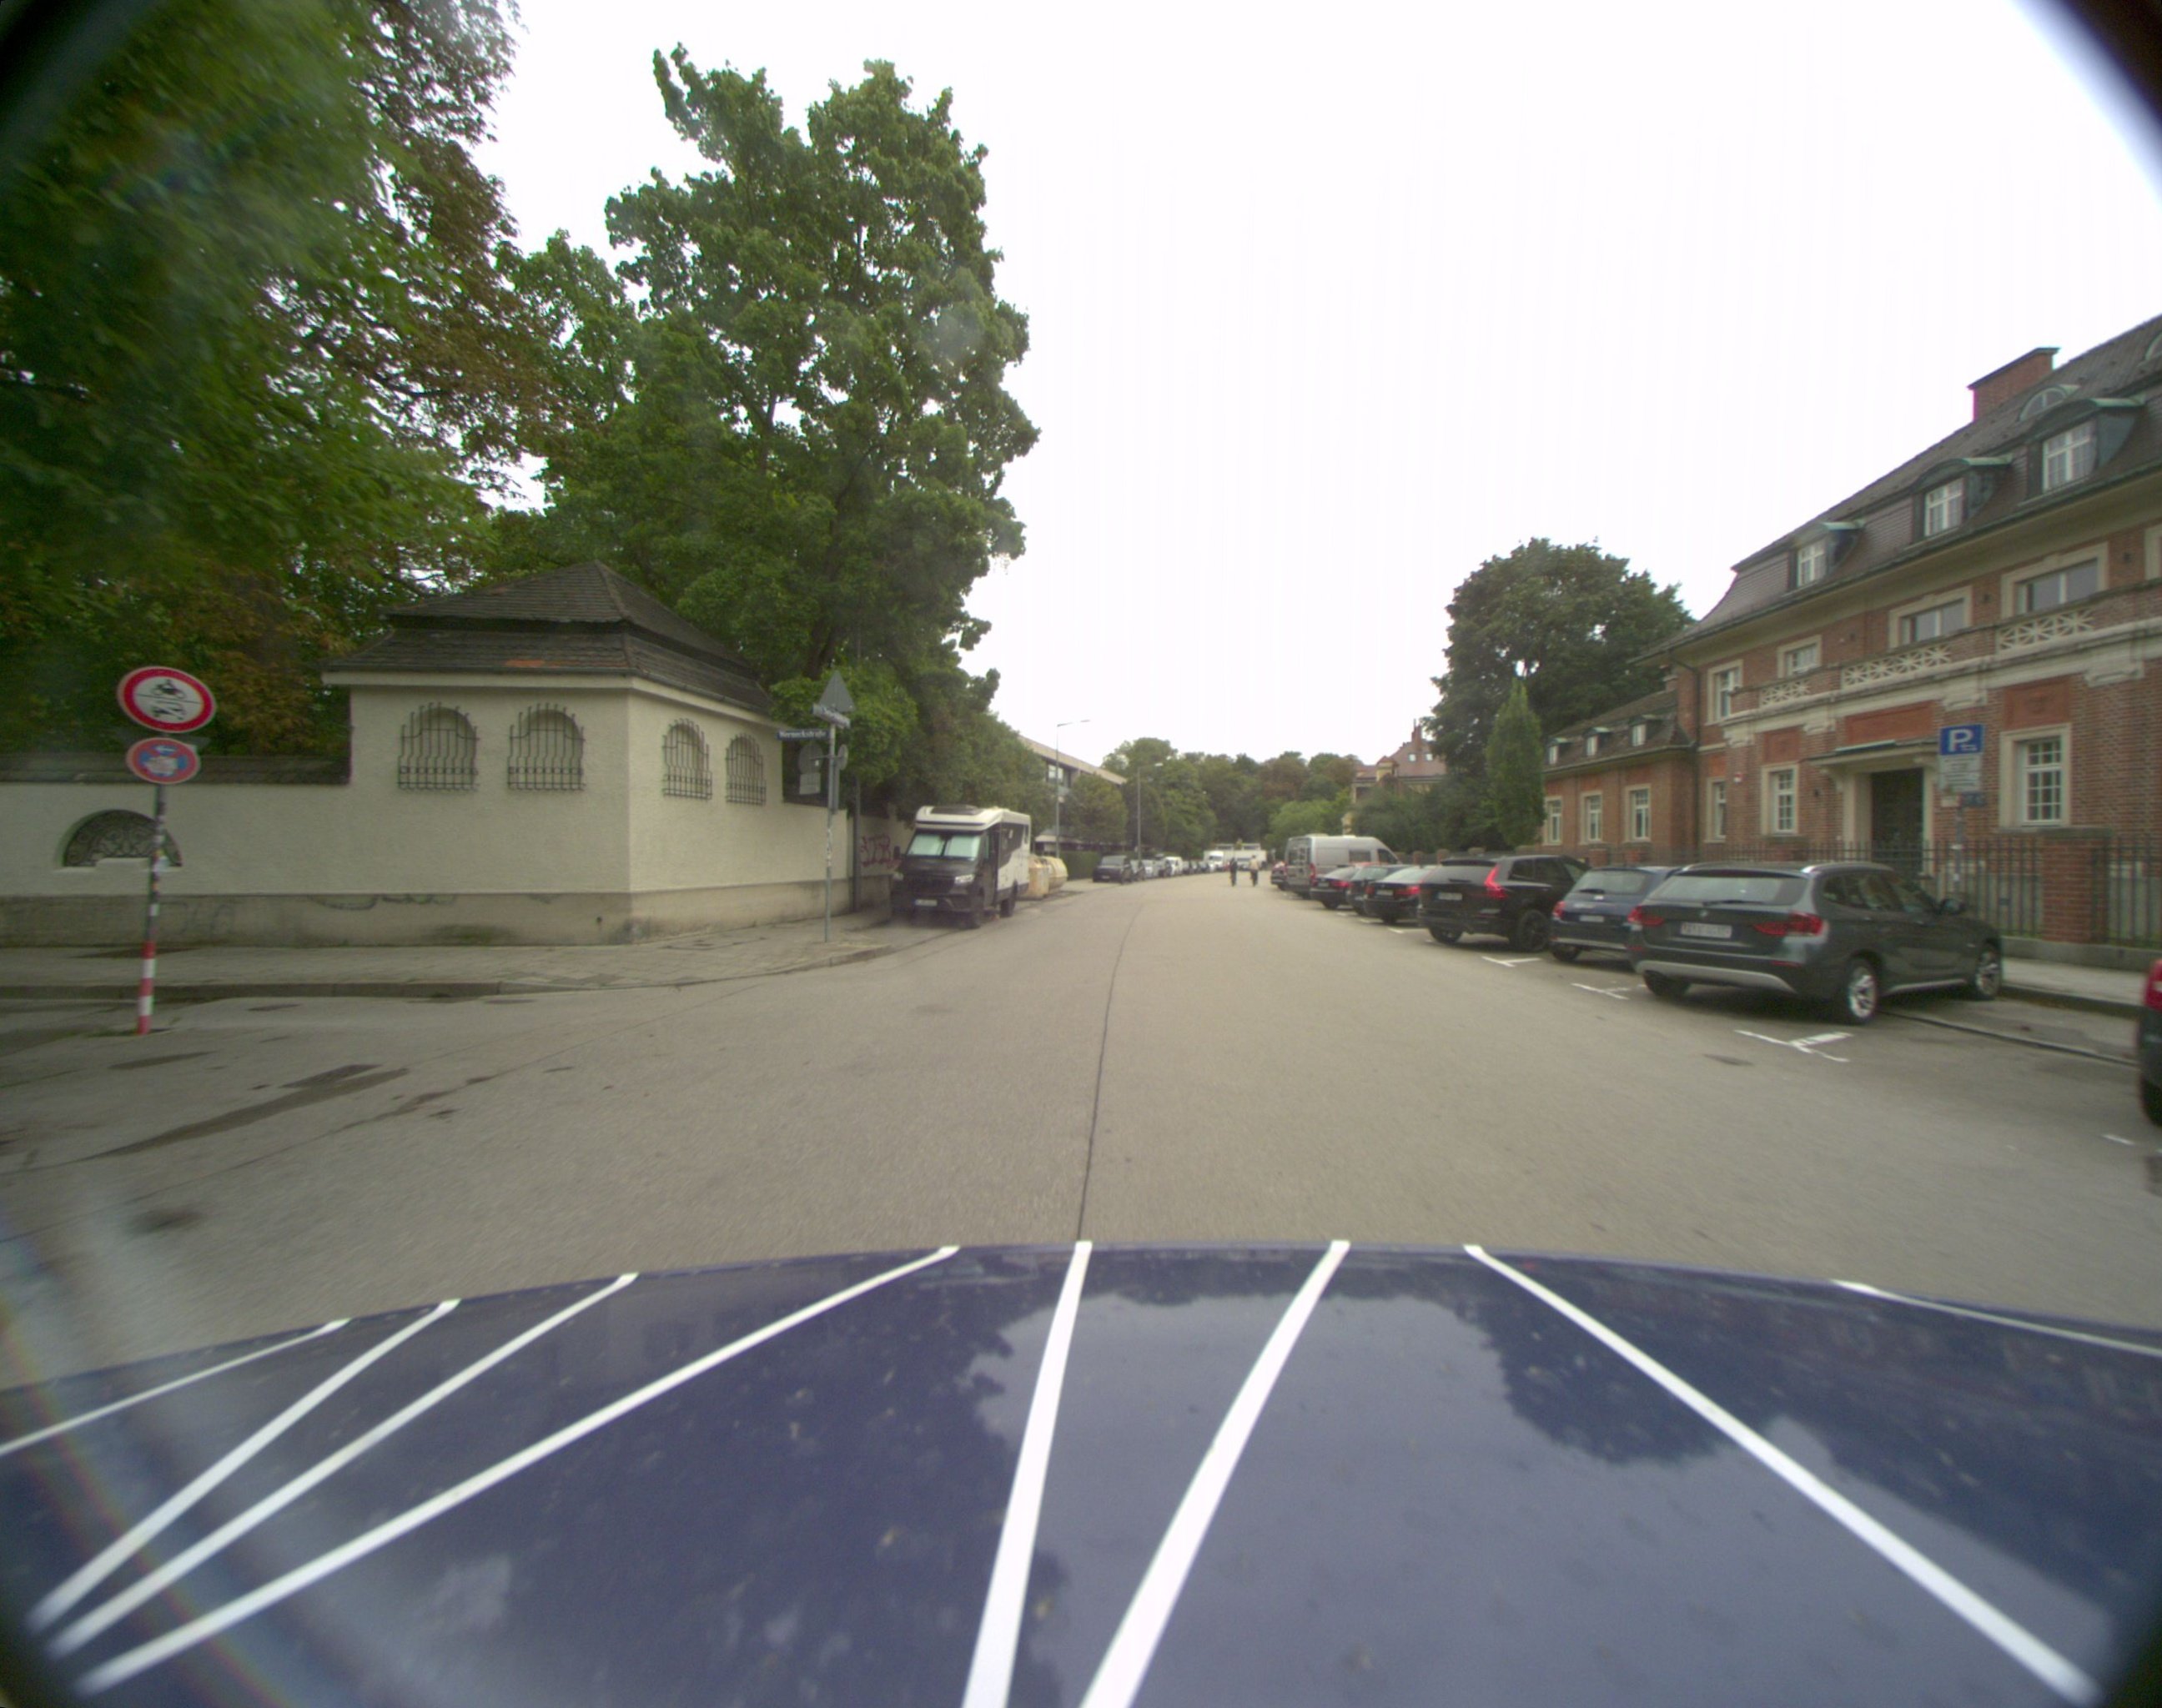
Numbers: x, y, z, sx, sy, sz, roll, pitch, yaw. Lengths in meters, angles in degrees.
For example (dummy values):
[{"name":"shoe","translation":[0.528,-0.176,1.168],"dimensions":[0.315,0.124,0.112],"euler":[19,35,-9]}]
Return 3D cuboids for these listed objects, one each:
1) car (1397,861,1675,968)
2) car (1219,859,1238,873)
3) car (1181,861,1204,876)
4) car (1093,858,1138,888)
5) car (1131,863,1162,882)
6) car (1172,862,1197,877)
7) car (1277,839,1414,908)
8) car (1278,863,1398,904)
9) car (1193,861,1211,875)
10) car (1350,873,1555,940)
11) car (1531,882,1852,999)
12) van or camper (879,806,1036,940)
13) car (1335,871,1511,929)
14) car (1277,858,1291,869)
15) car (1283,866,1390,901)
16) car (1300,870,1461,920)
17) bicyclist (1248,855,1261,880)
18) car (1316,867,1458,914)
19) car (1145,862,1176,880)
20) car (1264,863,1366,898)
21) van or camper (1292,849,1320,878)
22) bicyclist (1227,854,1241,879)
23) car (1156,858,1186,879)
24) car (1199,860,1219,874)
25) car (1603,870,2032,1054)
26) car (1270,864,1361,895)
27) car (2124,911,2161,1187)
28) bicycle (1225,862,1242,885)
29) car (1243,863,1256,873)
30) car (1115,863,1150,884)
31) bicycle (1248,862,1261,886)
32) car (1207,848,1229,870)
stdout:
[{"name":"car","translation":[8.267,1.011,13.814],"dimensions":[4.533,1.655,1.984],"euler":[1,1,-23]},{"name":"car","translation":[21.427,1.717,110.240],"dimensions":[1.936,1.893,5.080],"euler":[2,0,19]},{"name":"car","translation":[12.052,1.511,81.879],"dimensions":[1.728,1.520,4.210],"euler":[2,0,17]},{"name":"car","translation":[2.386,1.227,51.245],"dimensions":[1.990,1.860,5.083],"euler":[-1,0,15]},{"name":"car","translation":[5.389,1.509,61.945],"dimensions":[1.750,1.471,3.893],"euler":[0,0,17]},{"name":"car","translation":[10.477,1.576,76.768],"dimensions":[1.750,1.455,4.248],"euler":[1,0,17]},{"name":"car","translation":[10.374,0.765,29.899],"dimensions":[4.640,2.548,2.231],"euler":[1,0,-16]},{"name":"car","translation":[11.076,1.269,32.844],"dimensions":[4.530,1.616,1.964],"euler":[1,1,-16]},{"name":"car","translation":[13.885,1.612,87.022],"dimensions":[1.282,1.497,5.215],"euler":[2,0,17]},{"name":"car","translation":[9.006,1.235,18.410],"dimensions":[4.533,1.409,1.924],"euler":[2,0,-23]},{"name":"car","translation":[9.204,1.221,11.470],"dimensions":[4.335,1.462,1.817],"euler":[2,0,-21]},{"name":"van or camper","translation":[-2.905,0.428,20.107],"dimensions":[2.277,2.889,7.280],"euler":[0,0,6]},{"name":"car","translation":[9.475,1.243,21.040],"dimensions":[4.533,1.442,1.817],"euler":[2,0,-23]},{"name":"car","translation":[26.851,1.237,100.315],"dimensions":[1.774,1.466,4.139],"euler":[0,0,16]},{"name":"car","translation":[11.899,1.360,35.496],"dimensions":[4.425,1.478,1.830],"euler":[1,1,-15]},{"name":"car","translation":[9.405,1.262,23.891],"dimensions":[4.532,1.442,1.974],"euler":[1,0,-20]},{"name":"bicyclist","translation":[9.827,0.745,43.017],"dimensions":[0.697,1.389,0.931],"euler":[0,0,12]},{"name":"car","translation":[10.918,1.252,27.198],"dimensions":[4.531,1.508,1.934],"euler":[0,0,-18]},{"name":"car","translation":[6.971,1.486,66.292],"dimensions":[1.750,1.471,4.604],"euler":[-1,-1,18]},{"name":"car","translation":[11.679,1.305,37.988],"dimensions":[4.530,1.584,1.962],"euler":[1,0,-16]},{"name":"van or camper","translation":[24.467,1.032,82.531],"dimensions":[2.457,2.923,7.222],"euler":[2,0,19]},{"name":"bicyclist","translation":[8.636,0.700,42.973],"dimensions":[0.697,1.344,0.931],"euler":[0,0,16]},{"name":"car","translation":[8.467,1.353,71.231],"dimensions":[1.824,1.849,4.905],"euler":[-1,-1,19]},{"name":"car","translation":[15.682,1.606,92.974],"dimensions":[1.873,1.560,5.008],"euler":[2,-1,15]},{"name":"car","translation":[8.182,0.978,8.417],"dimensions":[4.533,1.558,1.886],"euler":[0,0,-25]},{"name":"car","translation":[12.486,1.341,40.637],"dimensions":[4.340,1.521,1.934],"euler":[0,1,4]},{"name":"car","translation":[8.016,1.065,4.251],"dimensions":[4.401,1.442,1.654],"euler":[1,0,-24]},{"name":"bicycle","translation":[8.664,1.086,43.068],"dimensions":[0.707,1.298,2.121],"euler":[0,0,17]},{"name":"car","translation":[26.733,2.239,120.414],"dimensions":[1.894,1.437,4.274],"euler":[-2,-2,11]},{"name":"car","translation":[3.860,1.413,56.418],"dimensions":[1.750,1.530,4.575],"euler":[0,0,15]},{"name":"bicycle","translation":[9.813,1.120,42.970],"dimensions":[0.708,1.298,2.120],"euler":[0,0,12]},{"name":"car","translation":[17.921,0.708,99.317],"dimensions":[2.082,2.670,6.097],"euler":[2,0,16]}]
